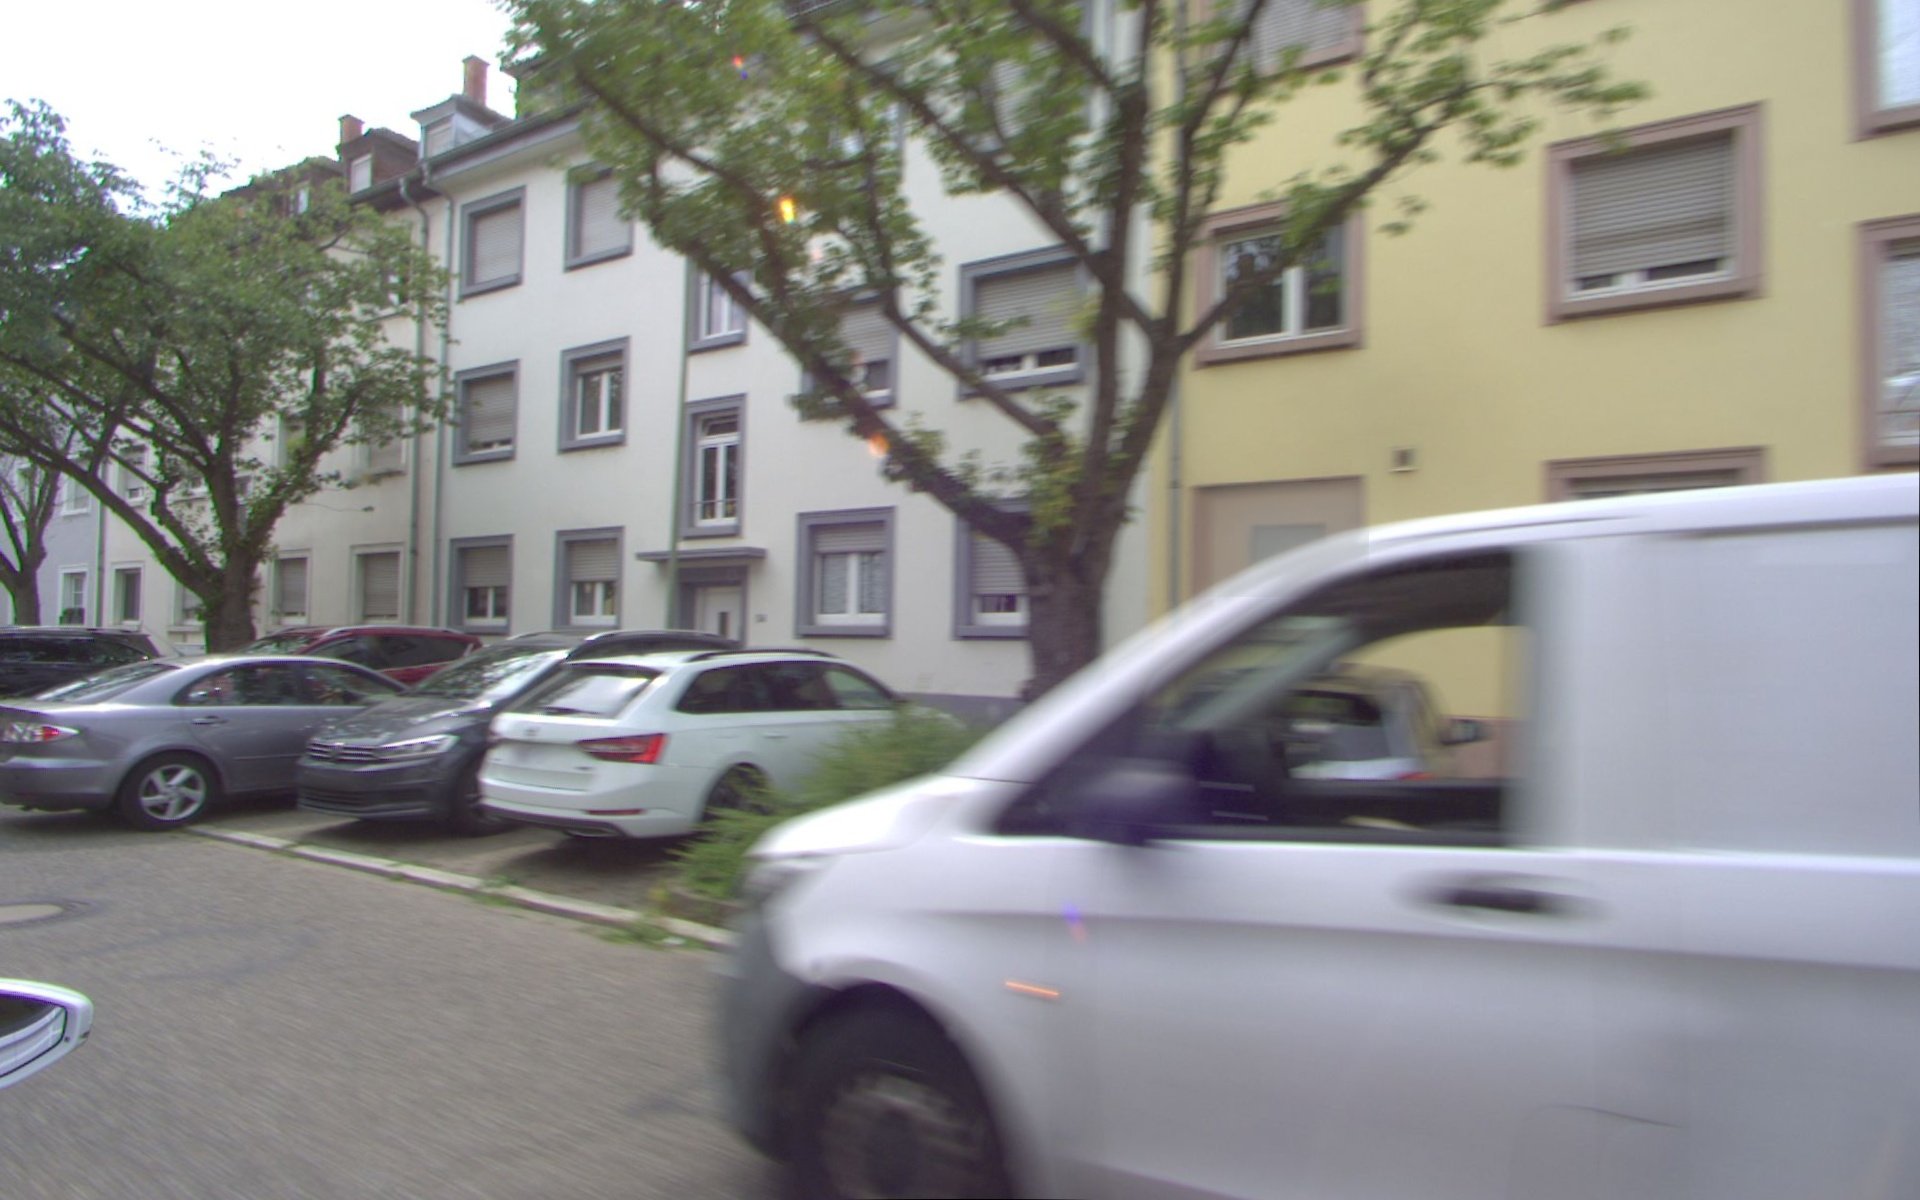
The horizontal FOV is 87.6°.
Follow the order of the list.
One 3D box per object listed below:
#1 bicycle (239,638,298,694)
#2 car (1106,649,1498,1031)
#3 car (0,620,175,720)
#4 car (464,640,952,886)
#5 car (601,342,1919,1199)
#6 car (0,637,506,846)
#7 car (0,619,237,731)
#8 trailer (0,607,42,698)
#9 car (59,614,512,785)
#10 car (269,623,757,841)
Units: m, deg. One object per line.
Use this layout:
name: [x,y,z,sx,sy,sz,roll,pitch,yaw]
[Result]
bicycle: [-14.201,1.342,20.558,1.452,1.095,0.502,-1,-1,34]
car: [2.389,1.156,6.387,1.787,1.594,3.475,-1,-2,29]
car: [-16.172,1.157,16.898,1.874,1.618,4.213,-1,-2,28]
car: [-1.745,1.076,8.226,1.613,1.438,3.983,-1,-2,29]
car: [1.568,0.672,2.487,4.631,1.937,1.994,-1,-5,28]
car: [-6.613,1.114,9.469,1.740,1.473,3.983,-1,-2,29]
car: [-14.189,1.120,15.735,1.874,1.618,4.213,-1,-2,28]
trailer: [-20.594,1.058,20.105,1.381,1.855,2.954,-1,-1,33]
car: [-7.925,1.046,12.199,1.877,1.699,4.207,-1,-2,32]
car: [-3.830,1.003,9.308,1.613,1.556,3.983,-1,-2,29]
